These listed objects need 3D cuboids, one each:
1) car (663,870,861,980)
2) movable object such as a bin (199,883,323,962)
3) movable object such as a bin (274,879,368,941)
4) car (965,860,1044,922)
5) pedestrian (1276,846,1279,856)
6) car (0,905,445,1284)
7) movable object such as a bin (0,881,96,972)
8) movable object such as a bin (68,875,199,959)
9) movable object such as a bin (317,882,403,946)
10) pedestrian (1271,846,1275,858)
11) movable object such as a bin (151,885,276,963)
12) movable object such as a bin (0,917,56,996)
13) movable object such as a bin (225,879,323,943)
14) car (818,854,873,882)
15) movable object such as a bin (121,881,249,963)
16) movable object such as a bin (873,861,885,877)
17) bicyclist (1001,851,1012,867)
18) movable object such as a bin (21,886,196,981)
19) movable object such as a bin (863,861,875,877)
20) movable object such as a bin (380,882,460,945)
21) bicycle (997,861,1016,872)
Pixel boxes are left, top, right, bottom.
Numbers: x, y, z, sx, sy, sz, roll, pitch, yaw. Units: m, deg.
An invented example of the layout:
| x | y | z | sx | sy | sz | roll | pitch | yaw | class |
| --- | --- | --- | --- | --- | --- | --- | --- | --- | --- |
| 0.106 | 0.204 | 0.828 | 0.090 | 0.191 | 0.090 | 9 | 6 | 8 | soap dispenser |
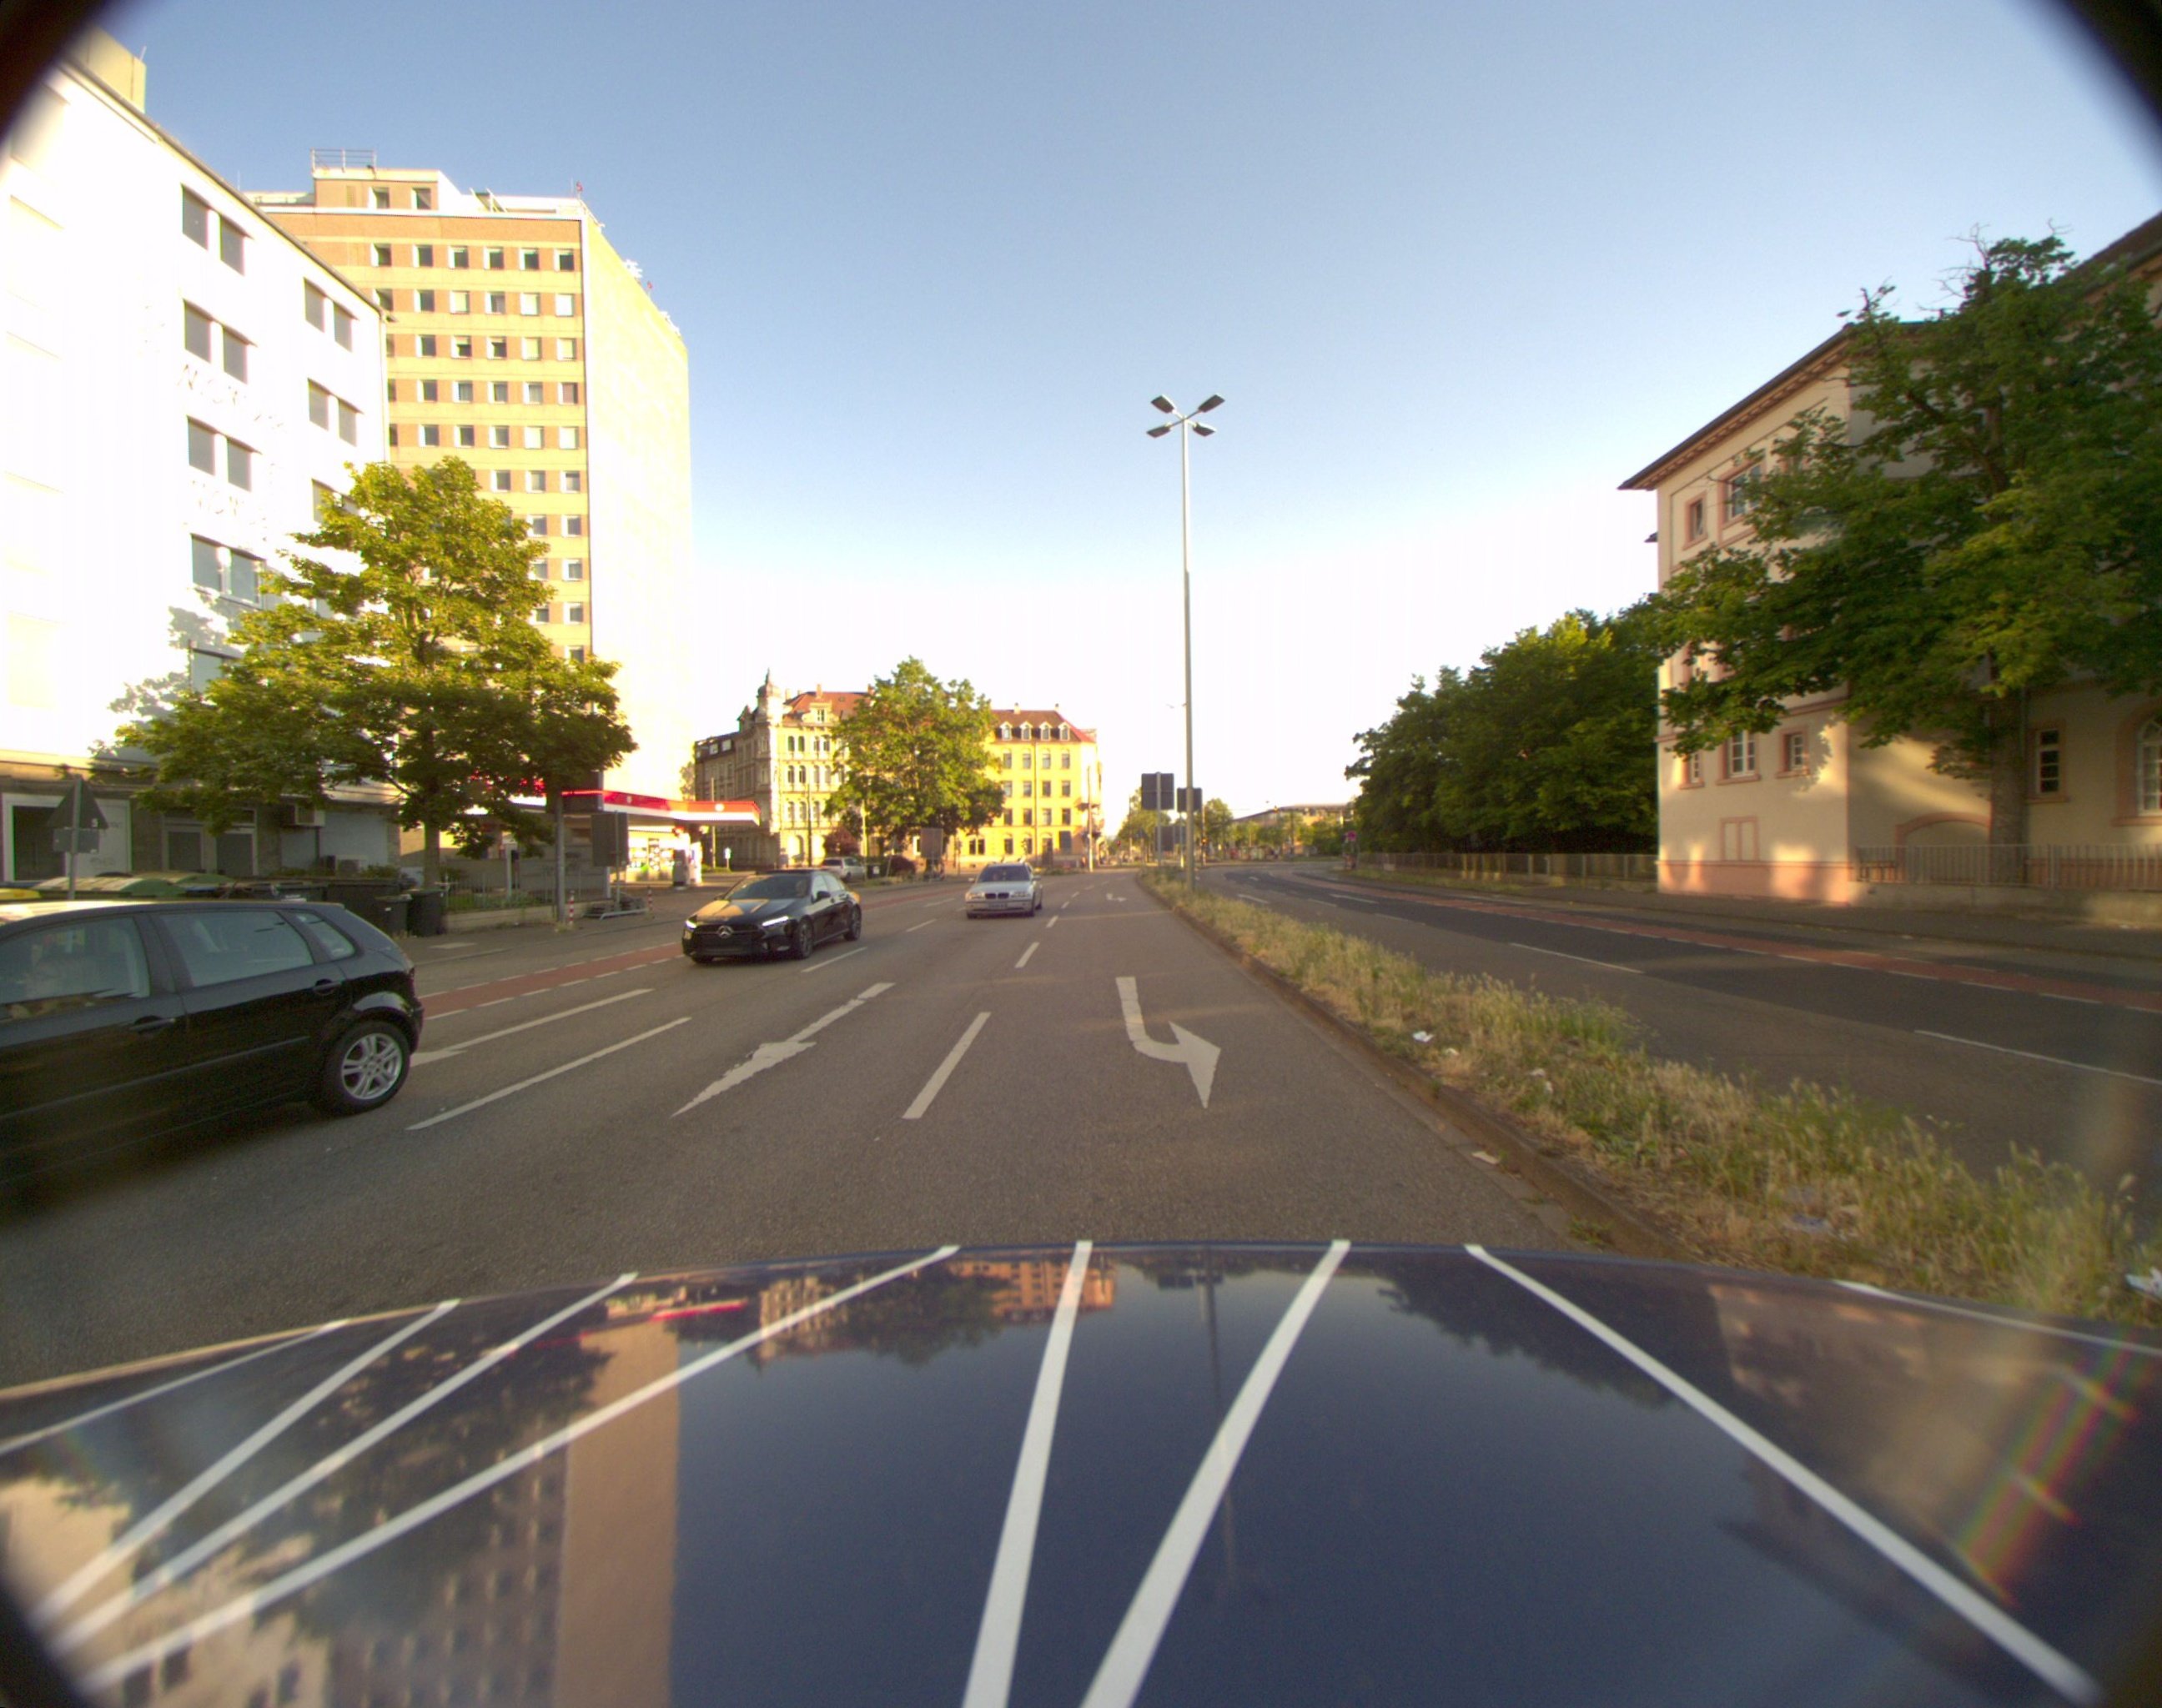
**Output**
| x | y | z | sx | sy | sz | roll | pitch | yaw | class |
| --- | --- | --- | --- | --- | --- | --- | --- | --- | --- |
| -5.230 | 1.078 | 13.101 | 1.731 | 1.441 | 4.045 | -2 | 0 | -1 | car |
| -14.930 | 1.225 | 13.878 | 0.956 | 1.320 | 1.162 | -1 | 1 | -2 | movable object such as a bin |
| -16.934 | 1.235 | 16.960 | 0.956 | 1.276 | 1.098 | -1 | 1 | -2 | movable object such as a bin |
| -1.983 | 0.937 | 20.919 | 1.675 | 1.410 | 4.440 | -2 | 0 | 0 | car |
| 33.921 | -0.469 | 131.018 | 0.467 | 1.695 | 0.419 | -1 | 1 | 1 | pedestrian |
| -5.364 | 1.115 | 3.461 | 1.584 | 1.441 | 3.872 | -2 | 0 | 1 | car |
| -18.692 | 1.260 | 13.405 | 1.034 | 1.490 | 1.162 | -1 | 1 | -2 | movable object such as a bin |
| -18.301 | 1.189 | 14.717 | 1.034 | 1.490 | 1.162 | -1 | 1 | -2 | movable object such as a bin |
| -15.862 | 1.300 | 16.741 | 0.956 | 1.320 | 0.953 | -1 | 1 | -2 | movable object such as a bin |
| 33.170 | -0.326 | 131.351 | 0.556 | 2.002 | 0.664 | -1 | 1 | 1 | pedestrian |
| -16.041 | 1.272 | 14.095 | 0.956 | 1.320 | 1.162 | -1 | 1 | -2 | movable object such as a bin |
| -15.515 | 1.461 | 10.747 | 0.853 | 1.039 | 0.819 | -1 | 1 | -4 | movable object such as a bin |
| -17.931 | 1.248 | 16.916 | 0.956 | 1.320 | 1.098 | -1 | 1 | -2 | movable object such as a bin |
| -13.956 | 0.820 | 45.276 | 1.688 | 1.508 | 3.797 | -1 | 1 | 8 | car |
| -17.124 | 1.275 | 14.564 | 1.034 | 1.440 | 1.162 | -1 | 1 | -2 | movable object such as a bin |
| -13.150 | 0.975 | 49.555 | 0.544 | 1.013 | 0.688 | -1 | 1 | 5 | movable object such as a bin |
| -7.611 | 0.535 | 77.943 | 1.065 | 1.639 | 0.732 | -1 | 1 | -7 | bicyclist |
| -15.876 | 1.265 | 12.455 | 1.351 | 1.415 | 1.105 | -1 | 1 | -4 | movable object such as a bin |
| -13.871 | 0.990 | 49.765 | 0.544 | 1.013 | 0.688 | -1 | 1 | 5 | movable object such as a bin |
| -14.881 | 1.330 | 17.138 | 0.956 | 1.320 | 0.953 | -1 | 1 | -2 | movable object such as a bin |
| -7.670 | 1.248 | 77.869 | 1.927 | 1.053 | 0.451 | -1 | 1 | -7 | bicycle |
